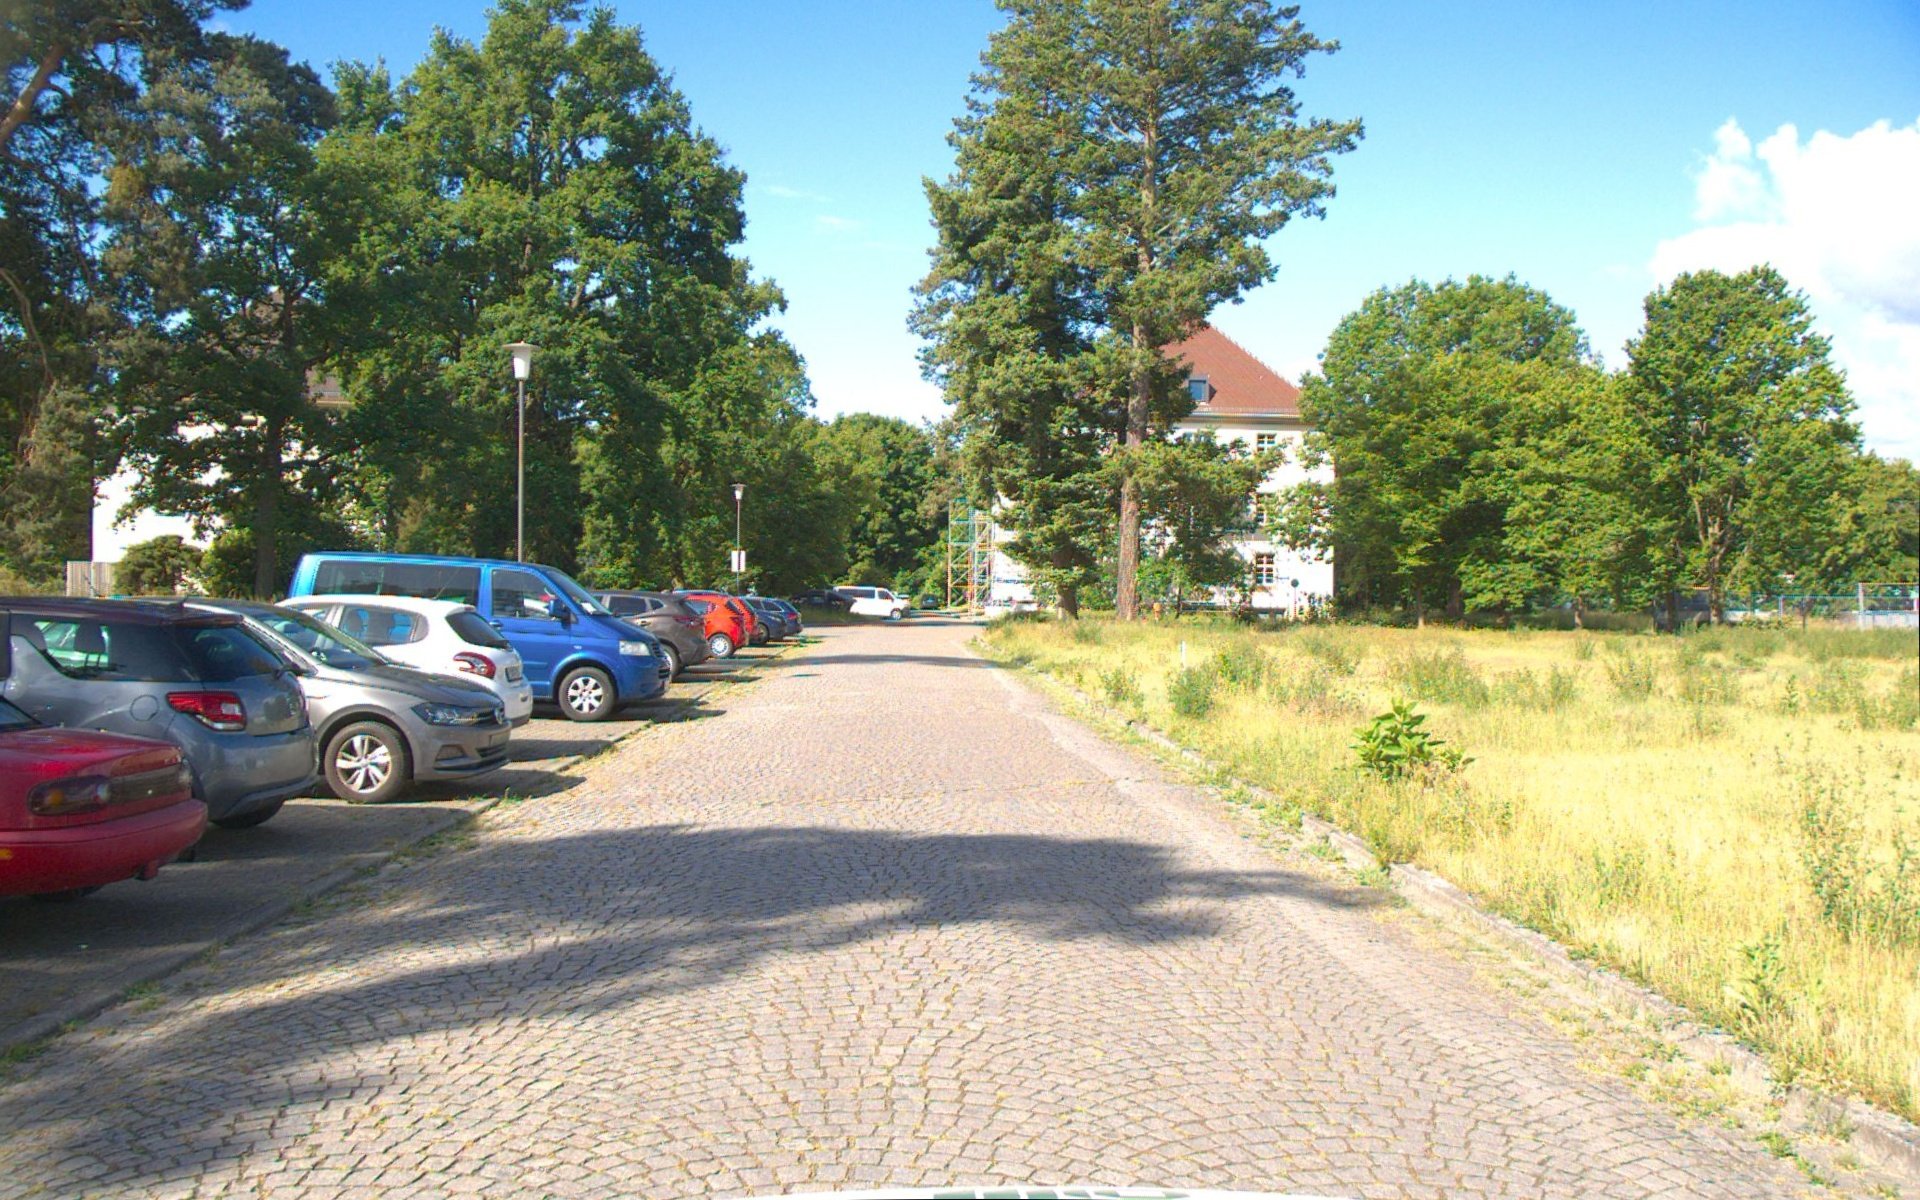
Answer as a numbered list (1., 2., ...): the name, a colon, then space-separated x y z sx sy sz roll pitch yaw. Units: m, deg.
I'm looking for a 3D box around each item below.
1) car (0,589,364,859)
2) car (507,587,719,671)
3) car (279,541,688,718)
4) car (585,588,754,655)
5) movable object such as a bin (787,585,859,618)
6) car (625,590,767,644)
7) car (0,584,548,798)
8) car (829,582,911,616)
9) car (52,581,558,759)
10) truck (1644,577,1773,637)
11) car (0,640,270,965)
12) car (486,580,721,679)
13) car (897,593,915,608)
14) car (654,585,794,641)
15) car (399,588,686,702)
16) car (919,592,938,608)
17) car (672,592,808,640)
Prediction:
1. car: -6.020 0.667 10.172 3.994 1.477 1.821 2 -1 -2
2. car: -6.828 0.554 32.880 3.846 1.474 1.865 2 1 -4
3. car: -5.984 0.366 21.237 4.623 2.002 2.004 2 0 -3
4. car: -7.060 0.510 40.468 3.846 1.486 1.841 2 1 -4
5. movable object such as a bin: -7.550 0.087 91.228 3.490 1.775 2.026 0 0 16
6. car: -7.669 0.468 48.332 3.844 1.458 1.842 1 1 -1
7. car: -5.508 0.662 13.084 3.994 1.450 1.922 2 0 -2
8. car: -5.676 -0.044 104.329 5.130 2.051 1.949 1 0 -3
9. car: -6.154 0.633 15.938 4.112 1.501 1.823 2 0 -3
10. truck: 33.028 0.282 73.266 2.189 2.466 6.882 2 0 -3
11. car: -5.316 0.806 7.534 3.557 1.256 1.759 2 -1 -2
12. car: -6.428 0.507 30.166 3.875 1.595 1.972 2 1 -4
13. car: -5.604 0.038 170.475 1.776 1.607 4.132 0 0 -3
14. car: -7.195 0.393 50.752 4.052 1.607 1.883 1 0 -3
15. car: -5.928 0.632 23.851 3.742 1.465 1.681 2 0 -6
16. car: -3.262 -0.008 170.885 1.931 1.697 4.084 0 0 -3
17. car: -7.339 0.534 55.431 4.270 1.470 1.921 1 1 0
